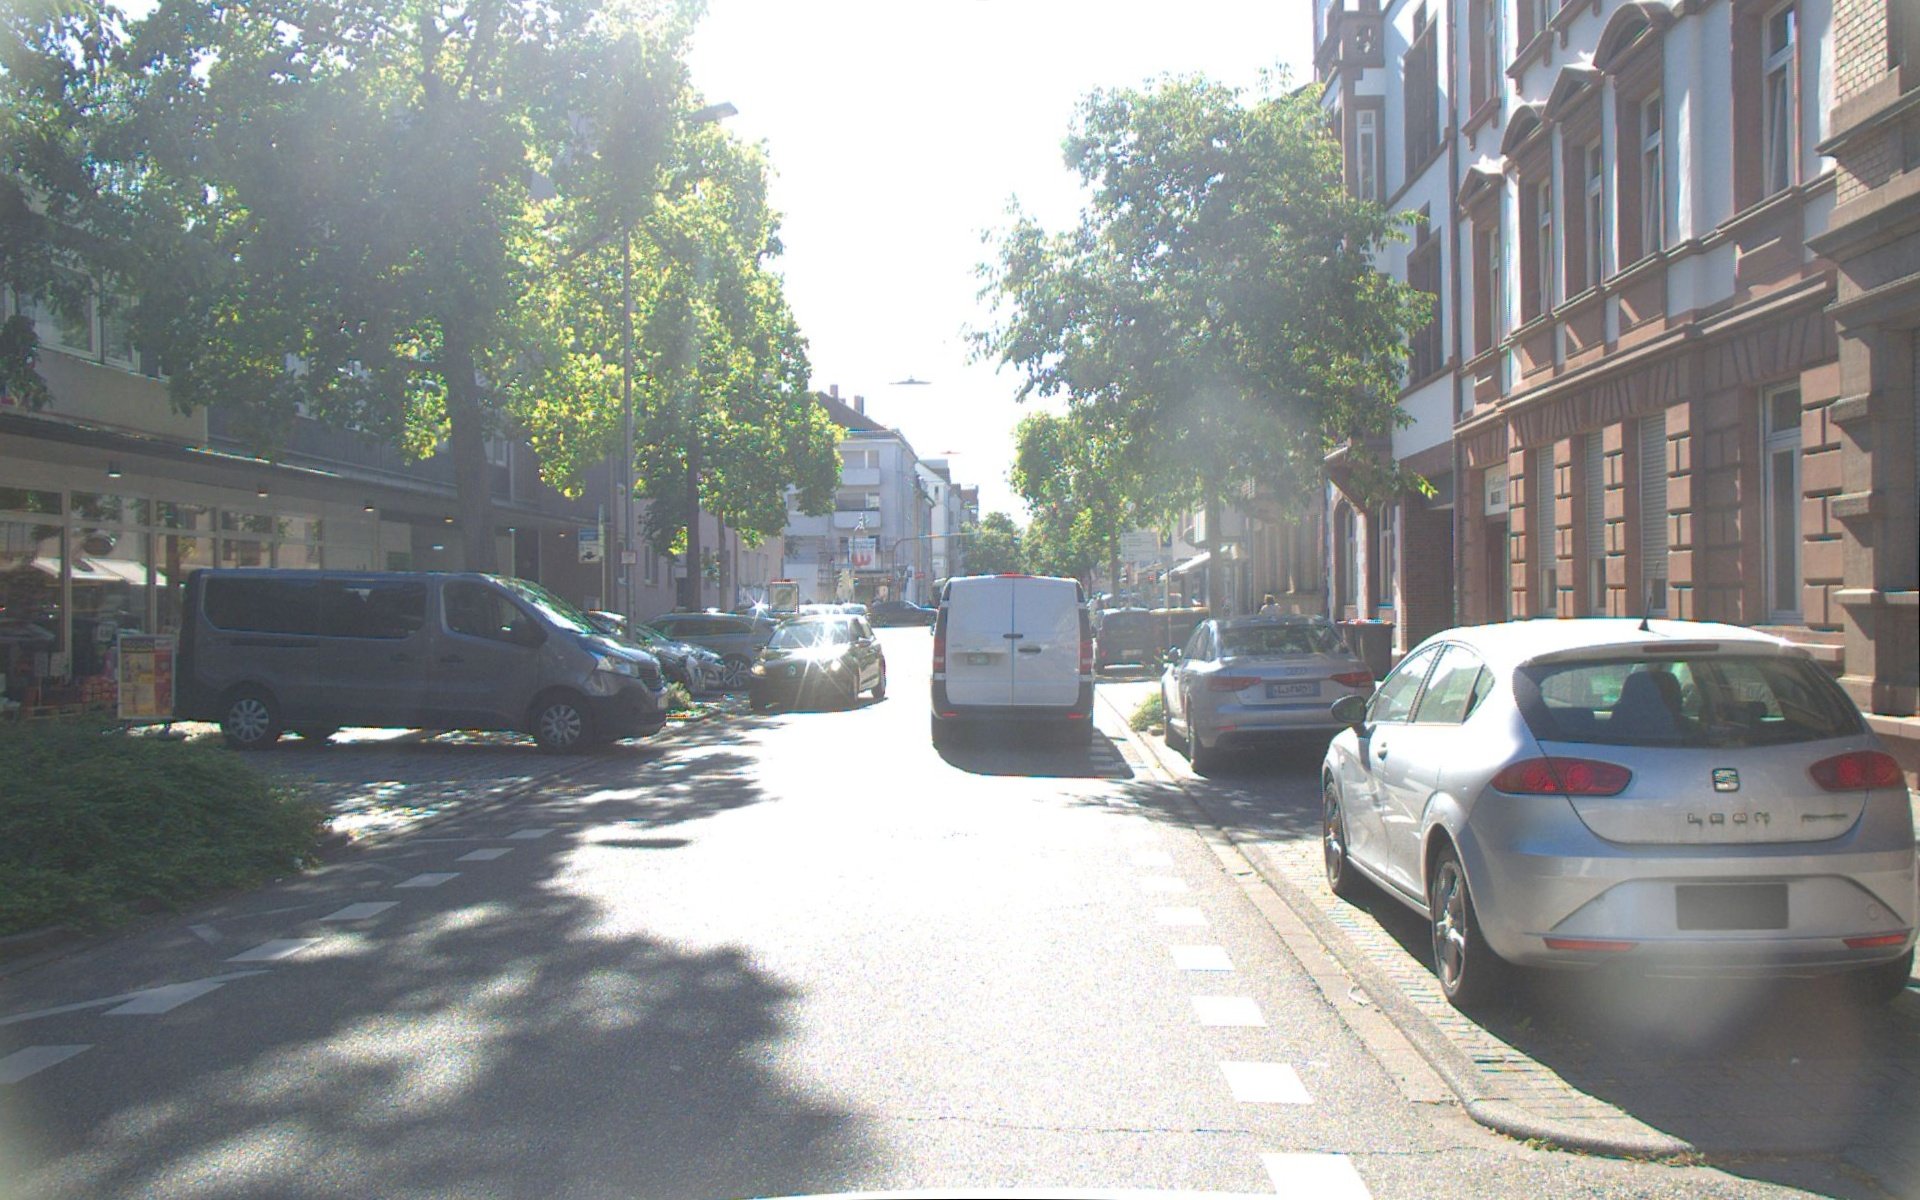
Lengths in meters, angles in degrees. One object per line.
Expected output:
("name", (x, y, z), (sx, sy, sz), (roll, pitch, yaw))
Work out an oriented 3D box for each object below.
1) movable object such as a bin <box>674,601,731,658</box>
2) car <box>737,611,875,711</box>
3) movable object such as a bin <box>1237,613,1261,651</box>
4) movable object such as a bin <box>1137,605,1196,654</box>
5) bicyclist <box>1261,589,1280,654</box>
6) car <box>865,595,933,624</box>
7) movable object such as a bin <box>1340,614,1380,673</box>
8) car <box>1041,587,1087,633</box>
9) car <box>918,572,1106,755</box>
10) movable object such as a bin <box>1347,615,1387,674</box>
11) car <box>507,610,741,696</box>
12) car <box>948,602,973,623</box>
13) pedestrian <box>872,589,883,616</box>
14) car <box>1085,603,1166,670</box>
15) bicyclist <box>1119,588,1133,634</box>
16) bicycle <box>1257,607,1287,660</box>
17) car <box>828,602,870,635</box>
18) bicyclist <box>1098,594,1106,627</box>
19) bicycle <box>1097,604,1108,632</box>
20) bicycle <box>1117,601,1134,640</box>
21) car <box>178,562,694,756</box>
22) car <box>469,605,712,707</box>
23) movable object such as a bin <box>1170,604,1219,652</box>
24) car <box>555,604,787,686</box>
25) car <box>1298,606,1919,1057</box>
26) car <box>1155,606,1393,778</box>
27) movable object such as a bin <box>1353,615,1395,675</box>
("movable object such as a bin", (-6.796, 0.766, 43.701), (1.204, 1.475, 1.077), (-1, 0, 10))
("car", (-2.461, 0.942, 27.274), (1.726, 1.464, 3.961), (-2, 0, 2))
("movable object such as a bin", (8.288, 0.919, 47.450), (0.586, 1.060, 0.546), (0, 0, 1))
("movable object such as a bin", (5.945, 0.838, 47.610), (1.260, 1.371, 1.093), (-1, 0, -40))
("bicyclist", (7.232, 0.501, 38.540), (0.353, 1.503, 0.531), (0, 0, 4))
("car", (-3.505, 0.538, 96.184), (3.906, 1.668, 1.999), (0, 0, -1))
("movable object such as a bin", (7.645, 0.826, 31.607), (0.624, 1.087, 0.632), (-1, 0, 2))
("car", (4.583, 0.426, 73.456), (1.778, 1.955, 4.645), (-1, 0, 1))
("car", (0.503, 0.670, 20.224), (1.882, 1.947, 4.885), (1, 0, -3))
("movable object such as a bin", (7.633, 0.827, 31.040), (0.624, 1.087, 0.521), (-1, 0, 2))
("car", (-6.072, 0.939, 30.251), (3.906, 1.489, 1.812), (0, 0, -1))
("car", (0.037, 0.825, 112.329), (1.584, 1.422, 3.732), (0, 0, 2))
("pedestrian", (-5.218, 0.135, 104.418), (0.669, 1.693, 0.601), (-1, 0, 1))
("car", (3.931, 0.831, 39.733), (1.602, 1.501, 3.580), (-1, 0, 0))
("bicyclist", (5.533, 0.365, 55.270), (0.430, 1.535, 0.497), (0, 0, 2))
("bicycle", (7.255, 0.760, 38.504), (0.525, 1.169, 2.125), (-3, -1, 8))
("car", (-5.250, 0.861, 78.440), (1.619, 1.505, 4.000), (1, 0, 1))
("bicyclist", (6.859, 0.505, 80.005), (0.348, 1.603, 0.481), (1, -1, -1))
("bicycle", (6.877, 0.866, 79.837), (0.407, 1.333, 1.335), (0, 0, 0))
("bicycle", (5.531, 0.677, 55.201), (0.465, 1.296, 1.218), (0, 0, 1))
("car", (-5.811, 0.631, 18.804), (5.182, 2.009, 2.016), (1, 0, 2))
("car", (-5.974, 0.892, 27.004), (3.523, 1.579, 1.685), (0, 0, 3))
("movable object such as a bin", (6.904, 0.810, 48.716), (1.022, 1.371, 1.102), (0, 0, 41))
("car", (-5.706, 0.872, 32.929), (4.214, 1.486, 1.763), (1, 0, 4))
("car", (2.762, 0.784, 7.544), (1.702, 1.477, 4.001), (-1, 0, 1))
("car", (3.057, 0.827, 16.930), (1.702, 1.477, 4.308), (-1, 0, 1))
("movable object such as a bin", (7.616, 0.824, 30.451), (0.624, 1.087, 0.639), (-1, 0, 2))
